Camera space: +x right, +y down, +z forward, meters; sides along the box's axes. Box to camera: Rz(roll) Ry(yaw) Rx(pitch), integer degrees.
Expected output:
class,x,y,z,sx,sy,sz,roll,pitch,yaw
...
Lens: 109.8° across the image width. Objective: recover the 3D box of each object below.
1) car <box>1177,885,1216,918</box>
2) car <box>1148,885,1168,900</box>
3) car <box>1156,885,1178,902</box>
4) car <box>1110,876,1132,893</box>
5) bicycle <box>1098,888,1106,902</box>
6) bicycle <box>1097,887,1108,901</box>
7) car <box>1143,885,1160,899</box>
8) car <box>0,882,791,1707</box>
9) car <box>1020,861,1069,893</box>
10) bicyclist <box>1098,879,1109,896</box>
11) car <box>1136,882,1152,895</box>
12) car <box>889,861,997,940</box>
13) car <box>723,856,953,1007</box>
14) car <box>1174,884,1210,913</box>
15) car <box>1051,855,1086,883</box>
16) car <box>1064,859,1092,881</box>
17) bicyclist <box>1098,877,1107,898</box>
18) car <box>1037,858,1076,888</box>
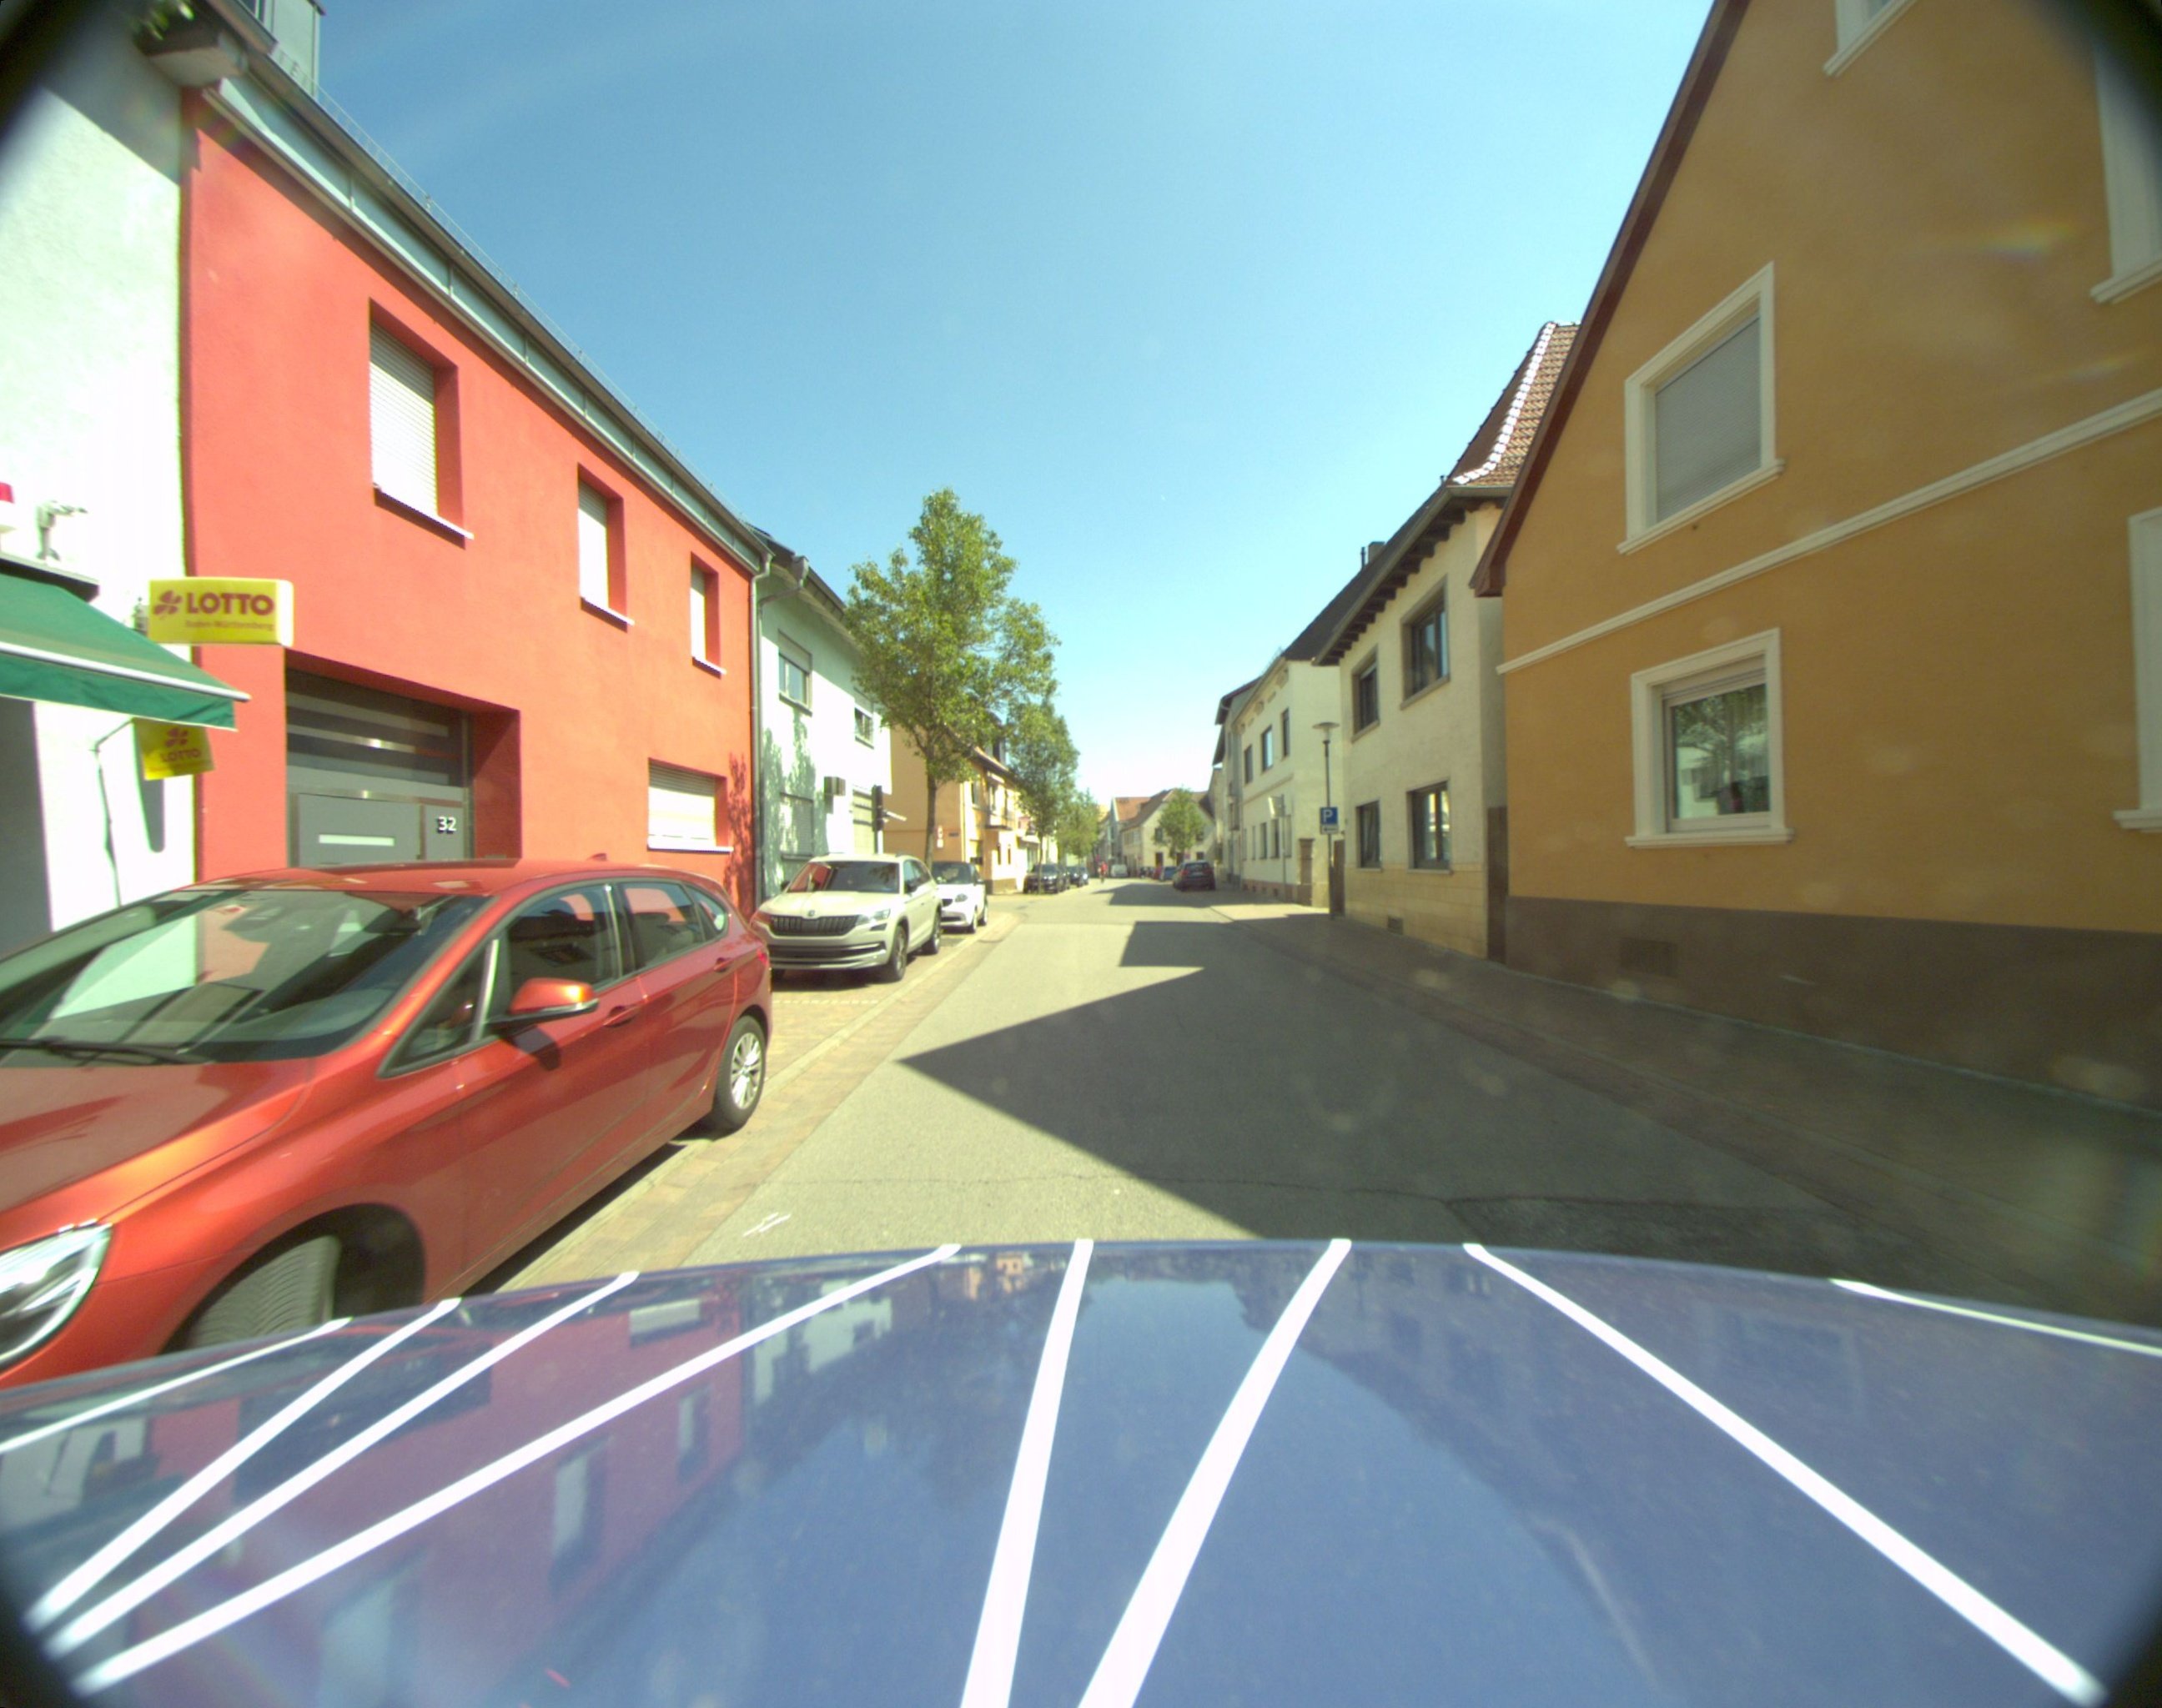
class,x,y,z,sx,sy,sz,roll,pitch,yaw
car,6.103,2.485,40.540,1.863,1.619,4.050,0,-2,6
car,7.814,3.924,77.536,1.571,1.452,3.802,0,-1,-1
car,8.004,3.689,71.246,1.571,1.452,3.802,0,-1,-1
car,5.474,4.121,103.472,2.443,2.223,4.960,-2,-1,-3
bicycle,1.862,3.590,66.749,0.635,1.227,1.895,3,-3,2
bicycle,2.213,4.021,76.577,0.959,1.362,2.407,1,-1,4
car,7.837,4.231,84.847,1.571,1.452,3.802,0,-1,-1
car,-2.738,0.939,2.766,1.834,1.579,4.088,0,-1,-1
car,-1.896,1.220,40.933,1.928,1.593,4.112,0,-1,8
bicyclist,2.230,3.384,76.523,1.028,1.634,1.025,1,-1,4
car,7.679,4.212,92.777,1.571,1.452,3.802,0,-1,-1
car,-3.044,0.965,17.584,1.715,1.534,3.997,2,0,0
car,-3.202,0.927,11.119,1.871,1.674,4.662,-2,-1,-1
car,6.622,2.653,45.664,1.916,1.604,3.988,0,-1,6
car,-0.844,1.081,53.878,1.998,1.758,4.112,3,-3,4
car,-0.231,1.355,62.613,1.998,1.759,4.110,0,-1,4
bicyclist,1.891,2.949,66.803,0.645,1.765,0.722,3,-2,3
car,-1.454,1.178,47.020,1.998,1.759,4.110,0,-1,4
